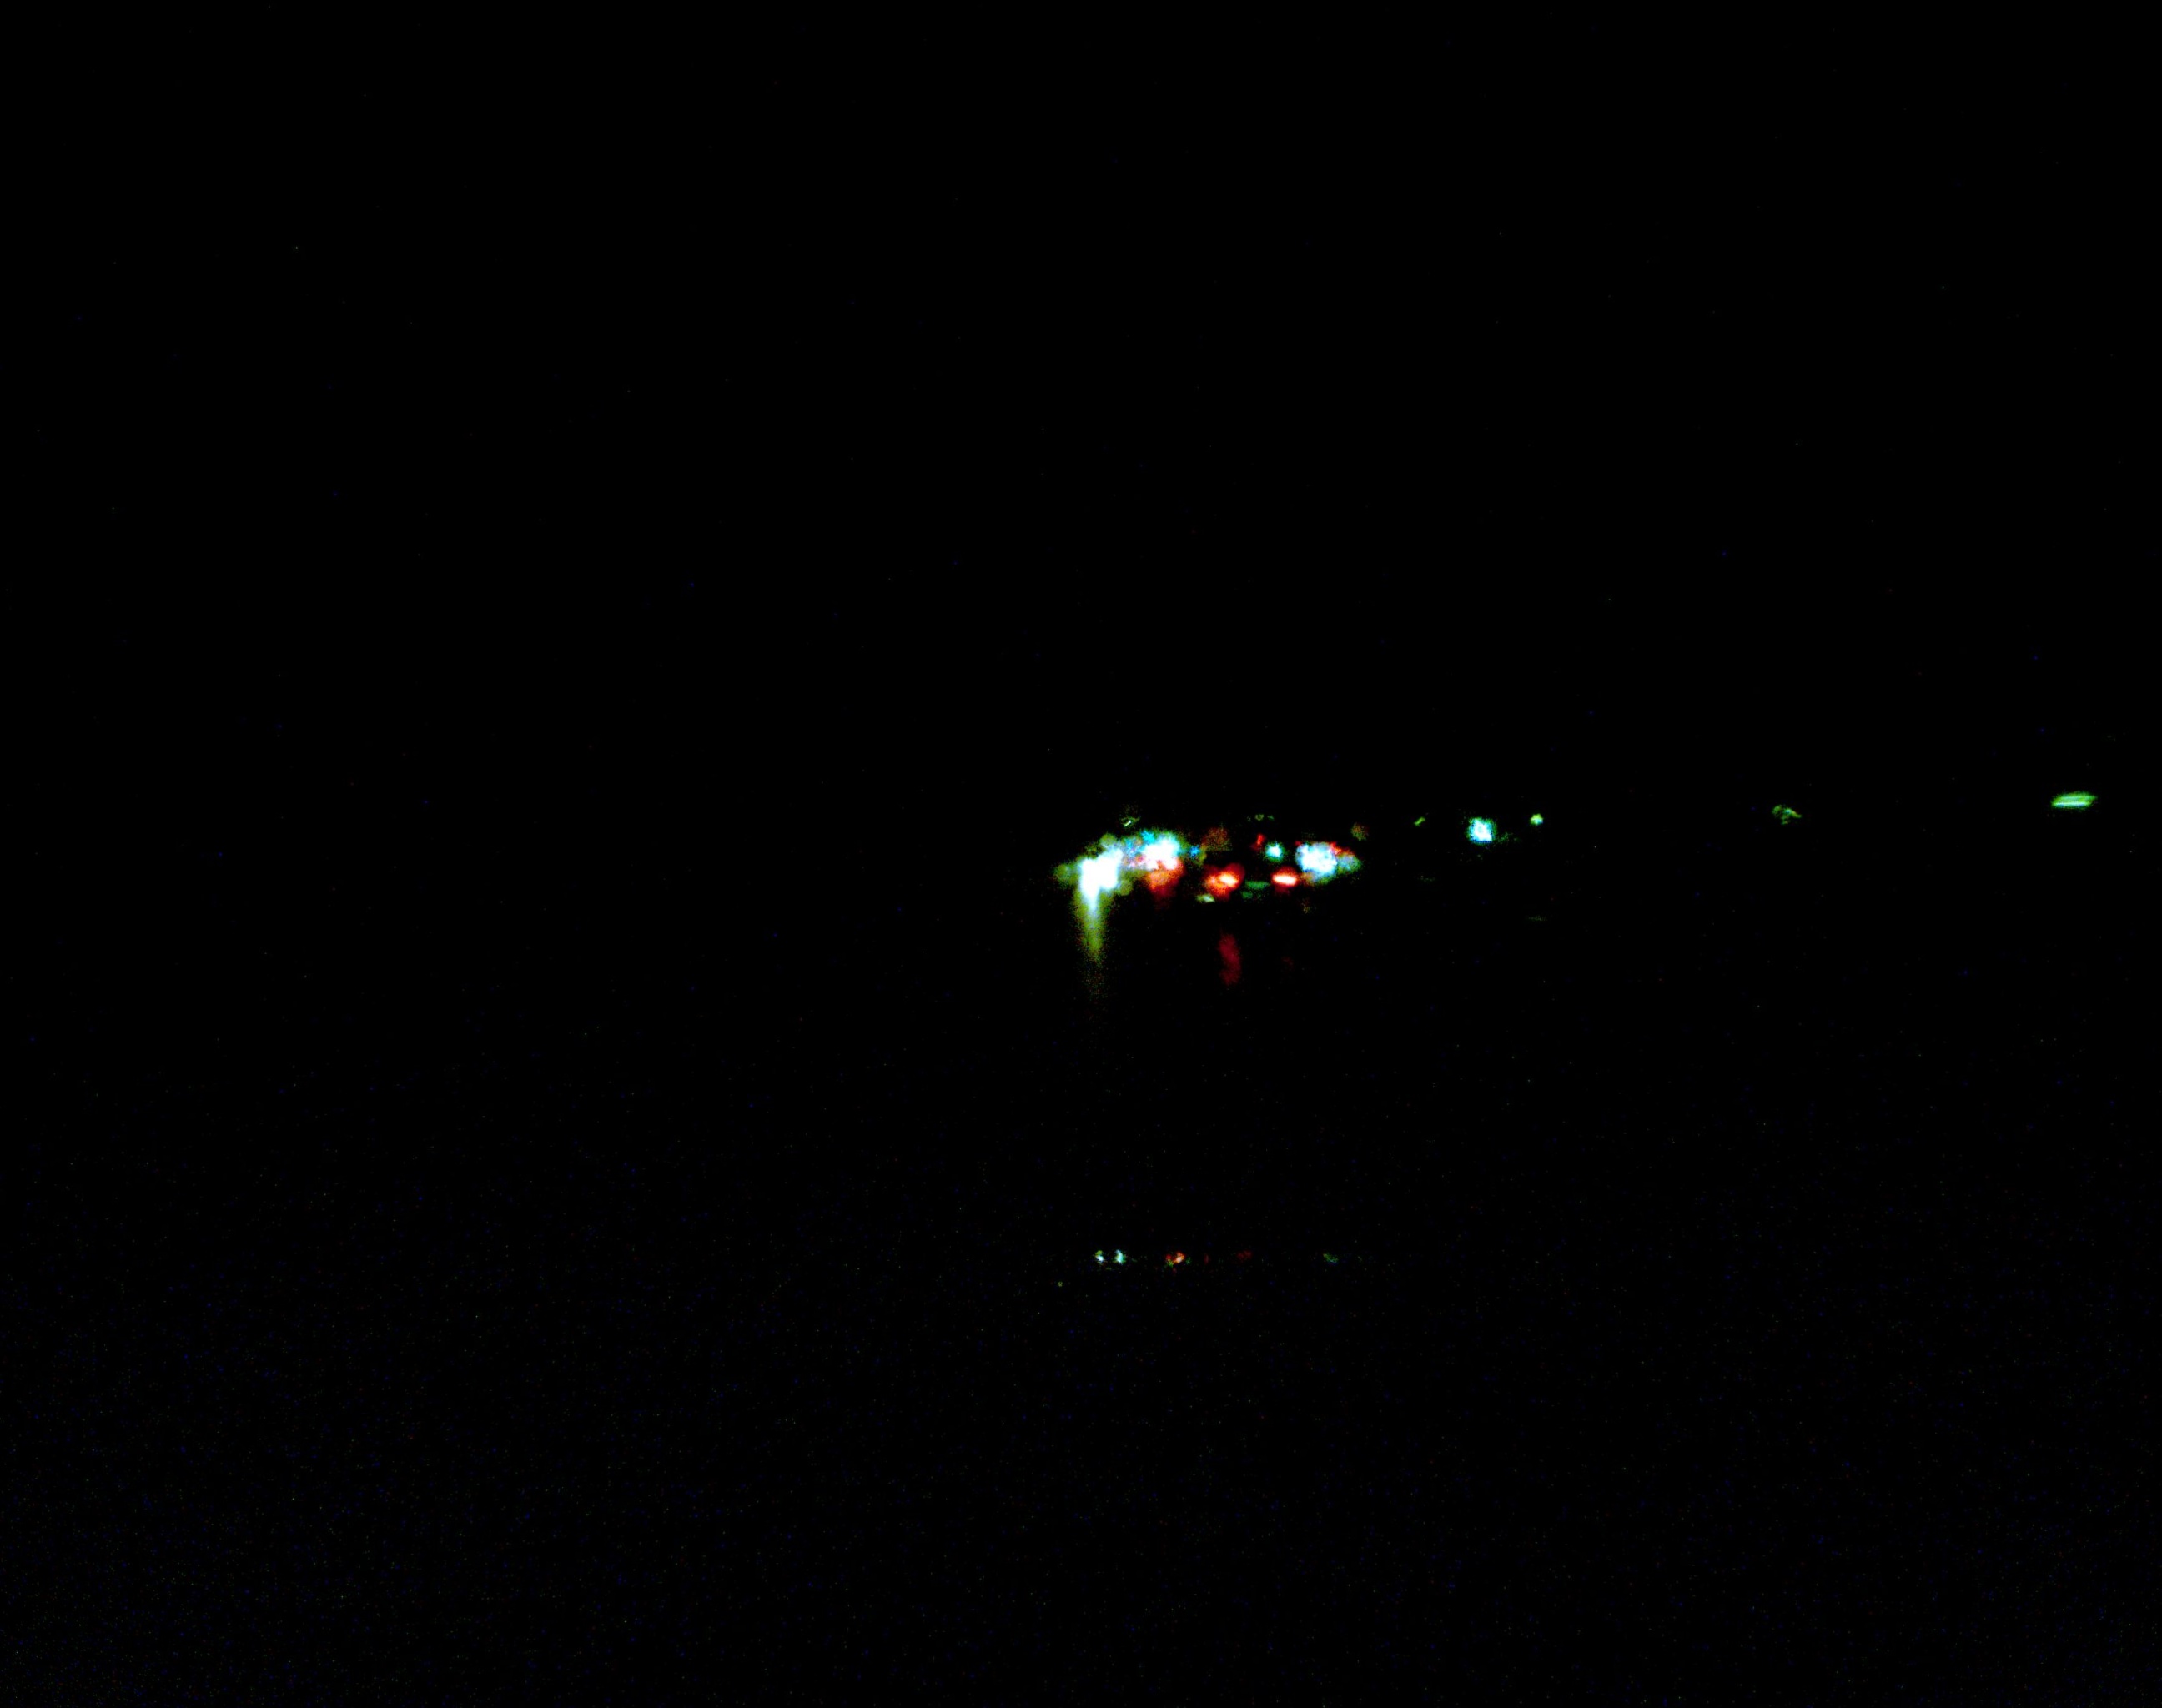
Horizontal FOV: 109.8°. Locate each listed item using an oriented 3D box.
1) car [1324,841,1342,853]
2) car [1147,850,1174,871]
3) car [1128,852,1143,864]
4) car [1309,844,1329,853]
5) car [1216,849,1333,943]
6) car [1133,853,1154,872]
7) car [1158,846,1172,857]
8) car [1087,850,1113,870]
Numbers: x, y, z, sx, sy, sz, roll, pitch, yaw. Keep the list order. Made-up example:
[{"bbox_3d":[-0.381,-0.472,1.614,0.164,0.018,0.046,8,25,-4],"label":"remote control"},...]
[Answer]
[{"bbox_3d":[48.549,-1.297,146.387,1.997,2.294,6.024,-2,0,6],"label":"car"},{"bbox_3d":[6.042,0.498,58.061,1.697,1.511,3.862,-2,0,1],"label":"car"},{"bbox_3d":[7.443,0.537,103.824,1.927,1.606,4.086,-2,0,3],"label":"car"},{"bbox_3d":[48.245,-1.058,153.922,1.852,1.683,4.444,-2,0,-12],"label":"car"},{"bbox_3d":[3.846,0.777,15.623,1.487,1.606,3.561,-4,0,2],"label":"car"},{"bbox_3d":[5.709,0.738,69.683,1.658,1.673,4.521,-2,0,3],"label":"car"},{"bbox_3d":[11.521,-0.342,103.735,1.807,1.375,4.774,-2,0,7],"label":"car"},{"bbox_3d":[1.700,0.479,65.125,1.877,1.579,4.890,-2,1,5],"label":"car"}]
